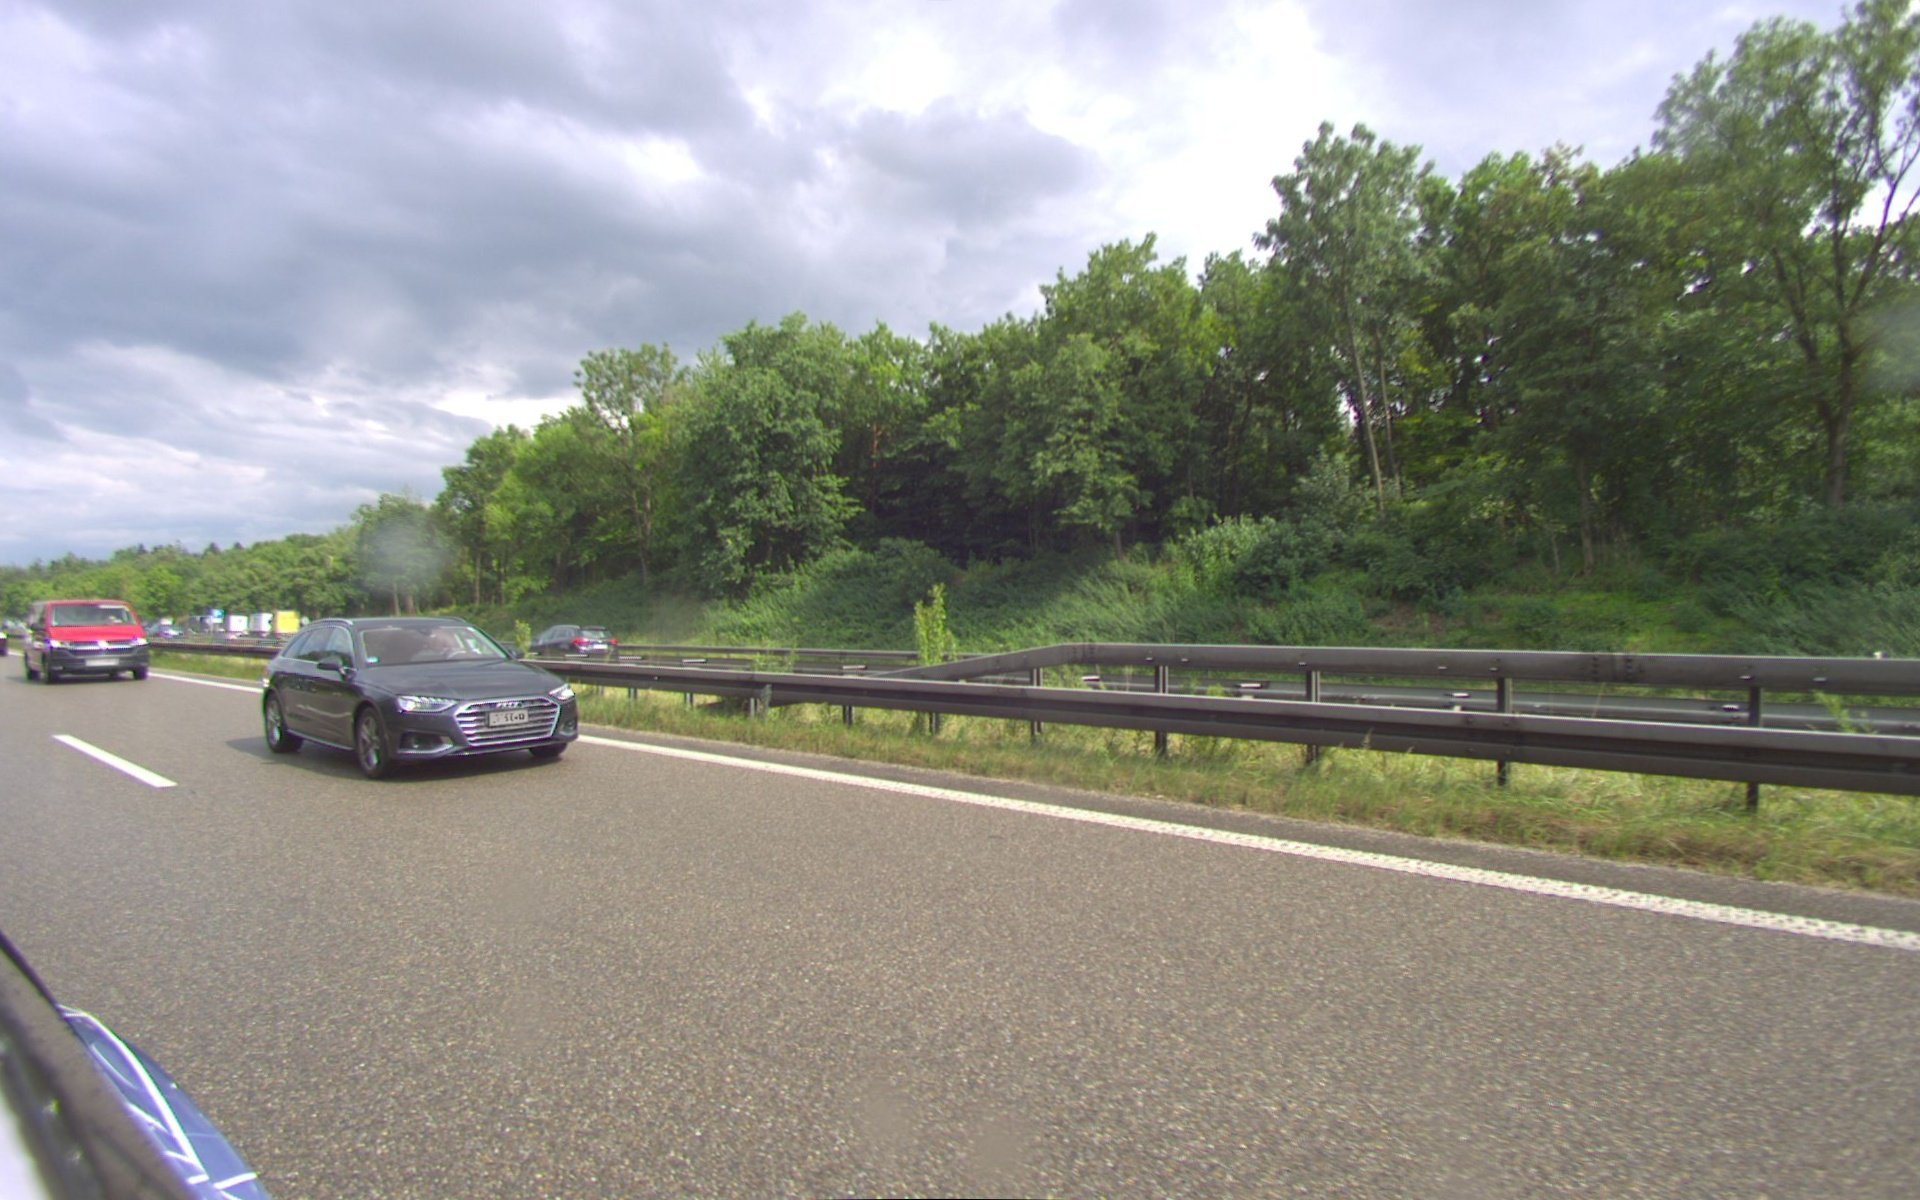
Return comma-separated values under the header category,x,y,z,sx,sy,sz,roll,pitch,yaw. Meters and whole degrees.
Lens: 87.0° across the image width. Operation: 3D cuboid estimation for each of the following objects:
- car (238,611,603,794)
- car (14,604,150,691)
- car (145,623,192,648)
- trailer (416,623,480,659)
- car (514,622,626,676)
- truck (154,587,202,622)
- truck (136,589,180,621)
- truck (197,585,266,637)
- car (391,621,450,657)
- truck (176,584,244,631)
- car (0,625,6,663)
category,x,y,z,sx,sy,sz,roll,pitch,yaw
car,-5.698,0.854,10.364,4.838,1.429,1.775,-1,0,42
car,-21.208,1.066,24.377,4.838,1.880,1.901,-1,0,42
car,-56.021,2.463,71.620,4.234,1.675,1.835,-1,0,41
trailer,-26.192,2.061,51.694,3.877,1.675,1.568,-1,0,41
car,-13.411,1.612,34.701,4.234,1.675,1.835,-1,0,41
truck,-111.243,0.636,143.880,11.874,4.756,3.574,-1,0,43
truck,-124.165,0.840,156.532,11.874,4.756,3.574,-1,0,43
truck,-70.738,1.047,98.109,9.802,4.756,3.574,-1,0,43
car,-28.770,2.038,53.961,3.681,1.841,1.568,-1,0,41
truck,-79.142,0.799,106.660,11.874,4.756,3.574,-1,0,43
car,-40.284,1.783,41.029,4.838,1.508,1.982,-1,0,42
